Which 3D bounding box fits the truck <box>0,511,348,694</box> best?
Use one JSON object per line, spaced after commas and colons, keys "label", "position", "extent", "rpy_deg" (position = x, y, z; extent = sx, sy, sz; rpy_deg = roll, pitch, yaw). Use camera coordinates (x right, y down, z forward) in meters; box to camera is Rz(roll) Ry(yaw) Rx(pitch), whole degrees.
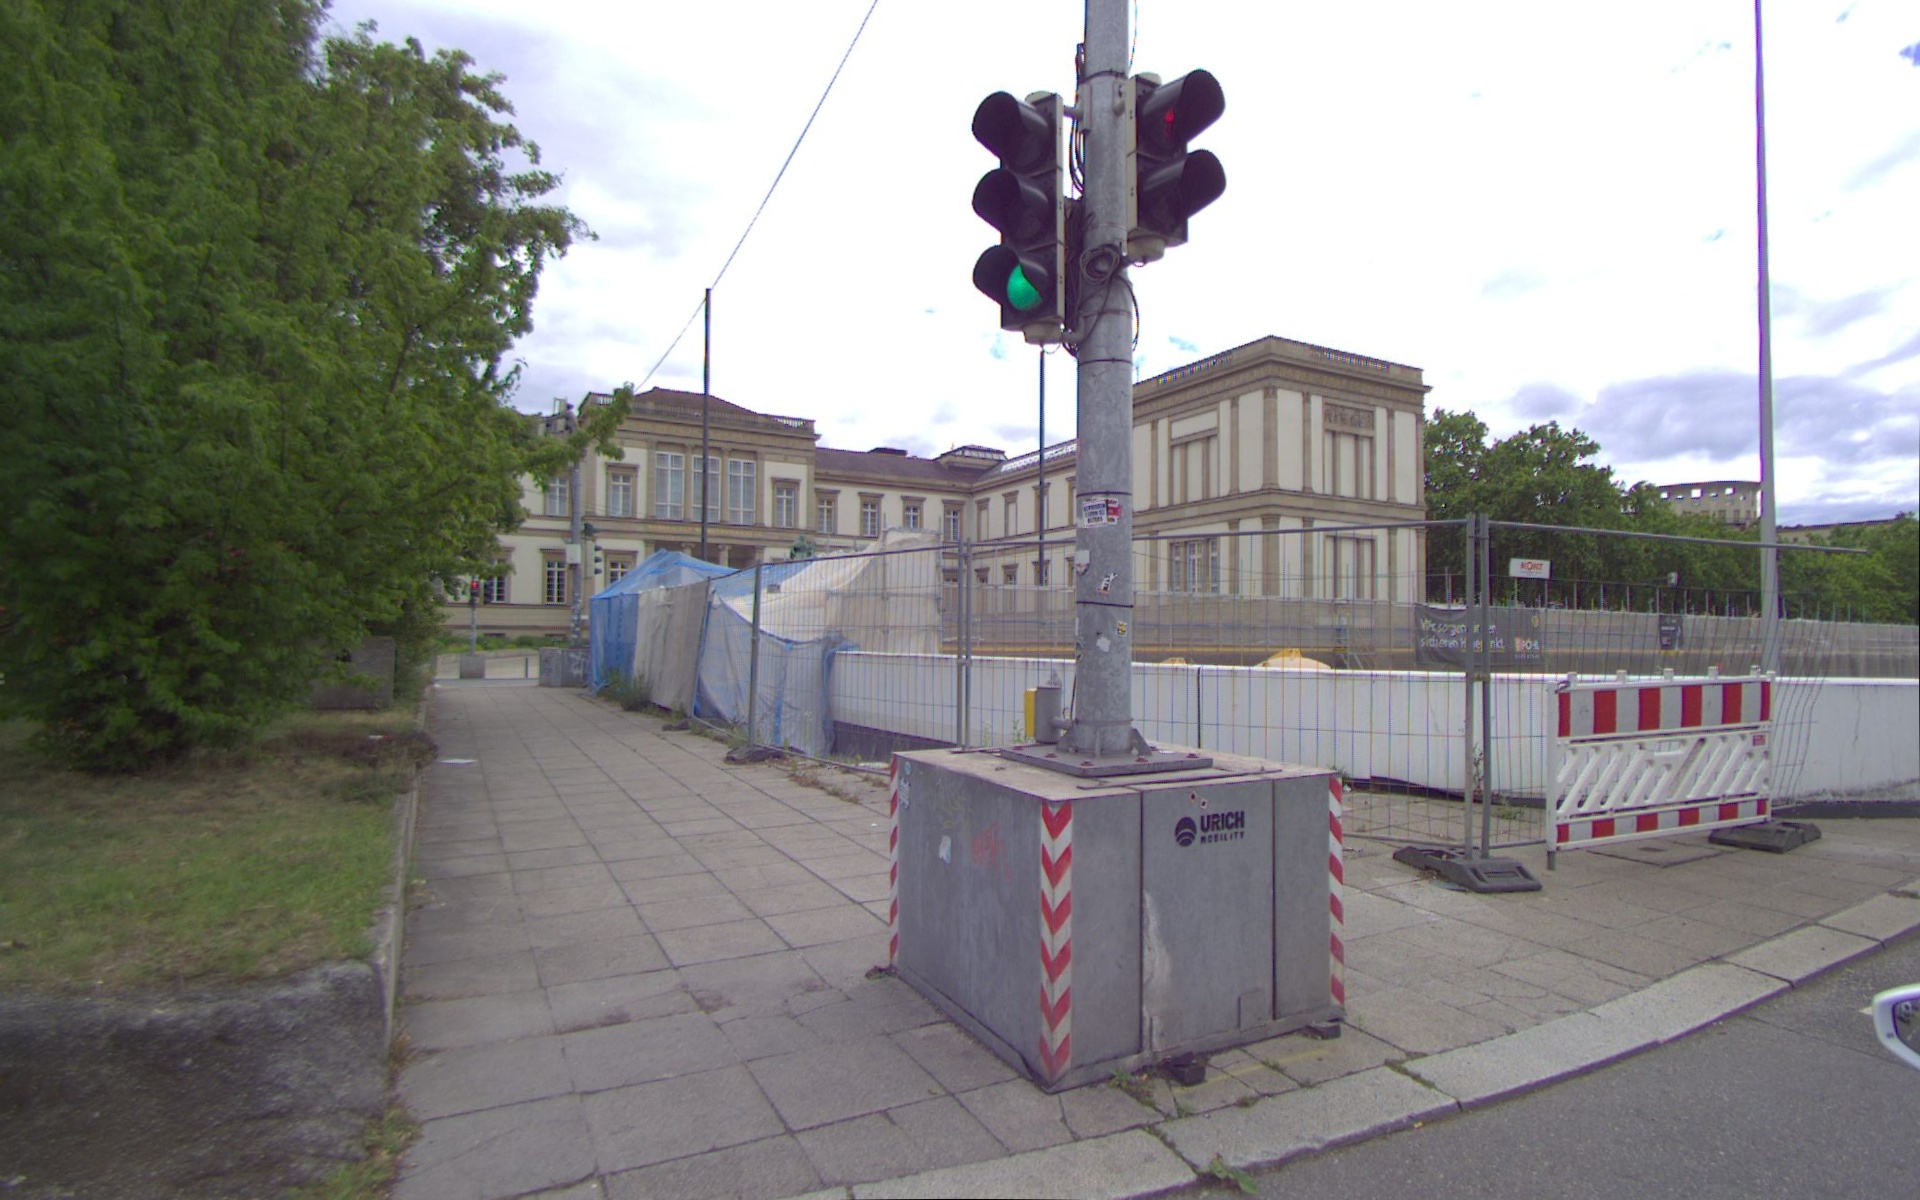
{"label": "truck", "position": [-23.795, 0.085, 23.106], "extent": [16.414, 4.136, 2.905], "rpy_deg": [1, -3, -30]}
